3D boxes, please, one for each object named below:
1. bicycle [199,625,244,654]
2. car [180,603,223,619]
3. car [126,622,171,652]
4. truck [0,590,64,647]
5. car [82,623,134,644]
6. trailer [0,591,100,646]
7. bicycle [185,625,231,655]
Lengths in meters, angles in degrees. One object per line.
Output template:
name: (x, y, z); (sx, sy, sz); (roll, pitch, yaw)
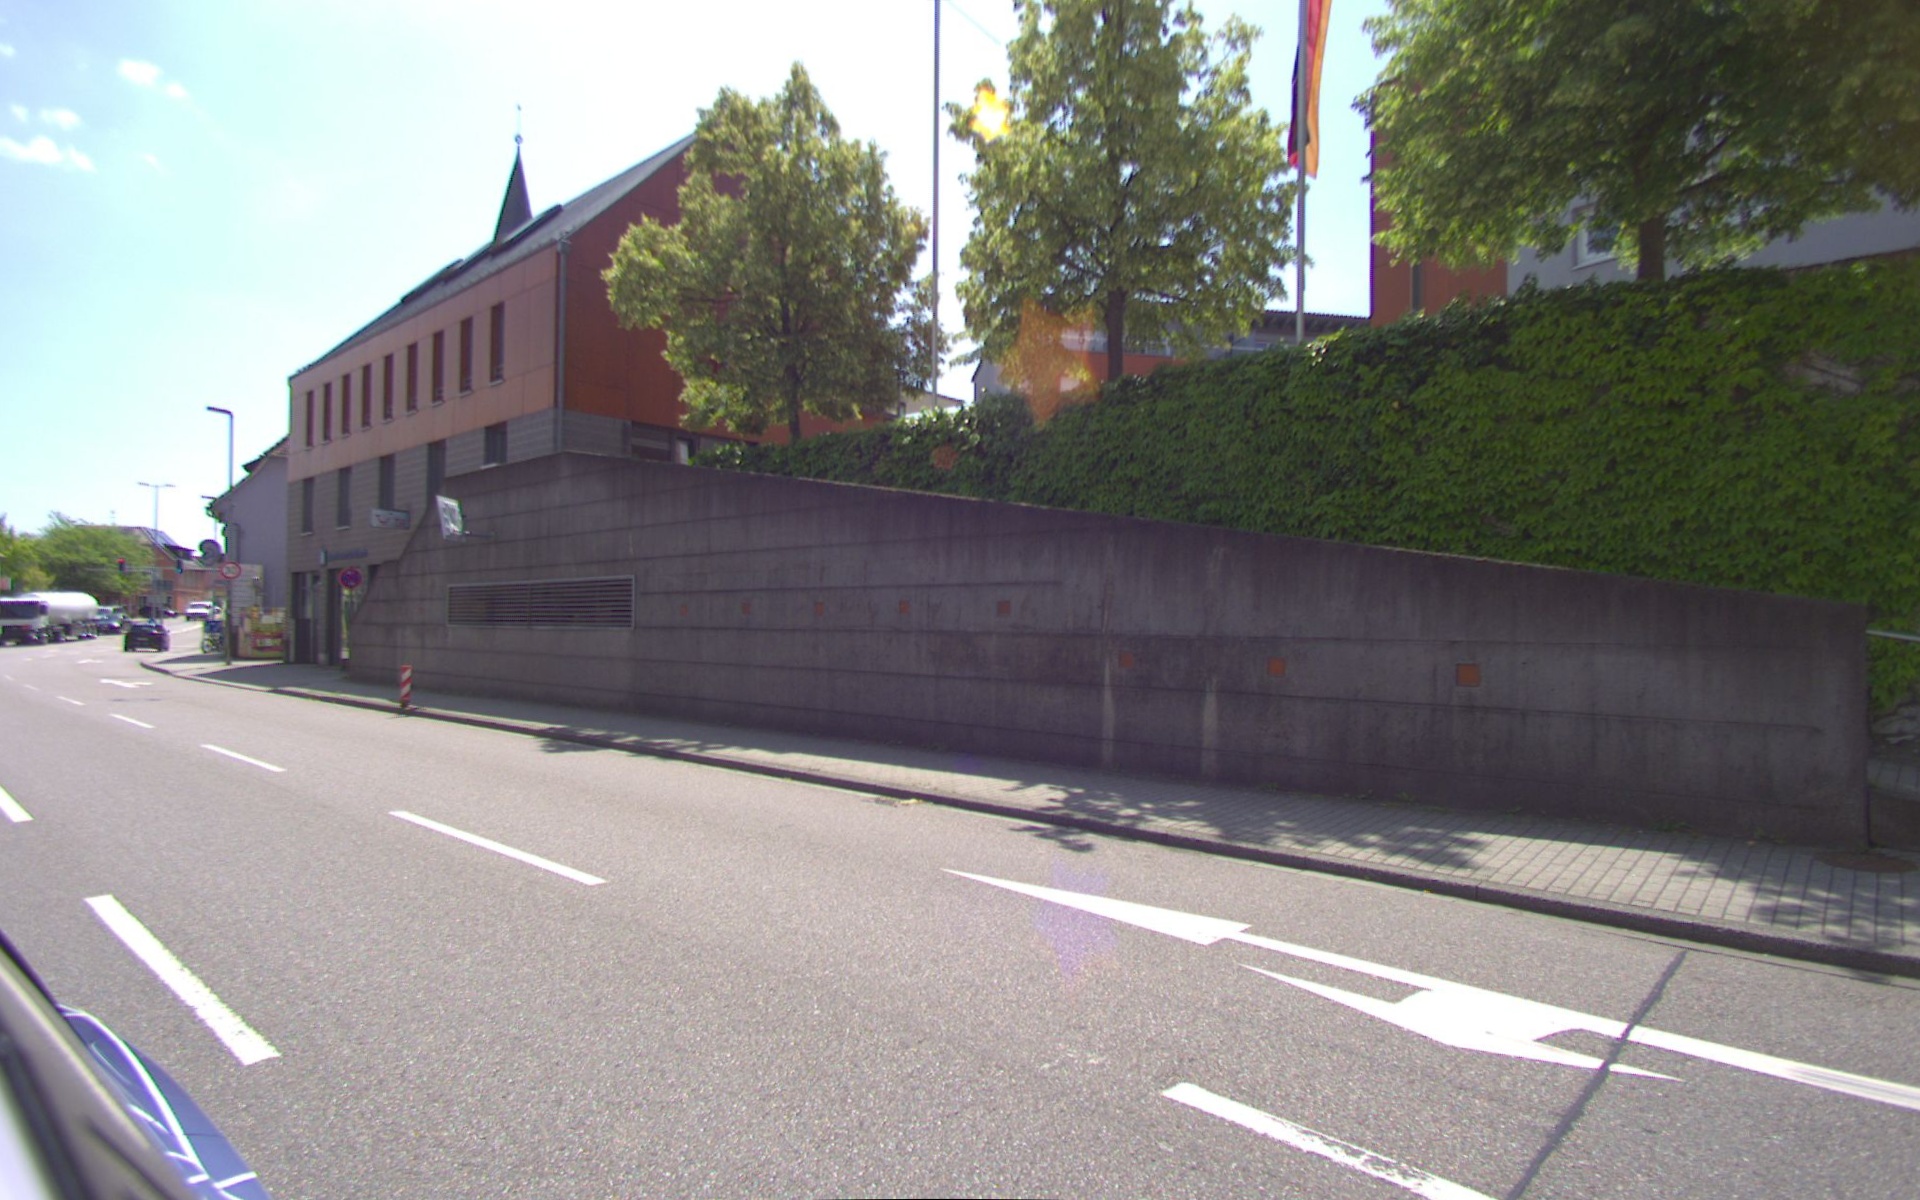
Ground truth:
bicycle: (-34.174, 1.827, 46.868); (0.571, 1.258, 1.828); (-3, 0, 6)
car: (-80.355, 1.209, 107.274); (1.979, 1.643, 4.590); (1, -2, -15)
car: (-45.870, 2.074, 57.262); (1.647, 1.670, 4.027); (1, -2, -35)
truck: (-60.855, 1.223, 65.821); (2.801, 3.597, 5.484); (1, -2, -31)
car: (-69.687, 2.704, 82.844); (1.978, 1.643, 4.593); (1, -2, -24)
trailer: (-64.234, 1.324, 71.741); (2.791, 3.597, 10.999); (1, -2, -29)
bicycle: (-34.819, 1.833, 46.876); (0.571, 1.258, 1.828); (-3, 0, 6)
